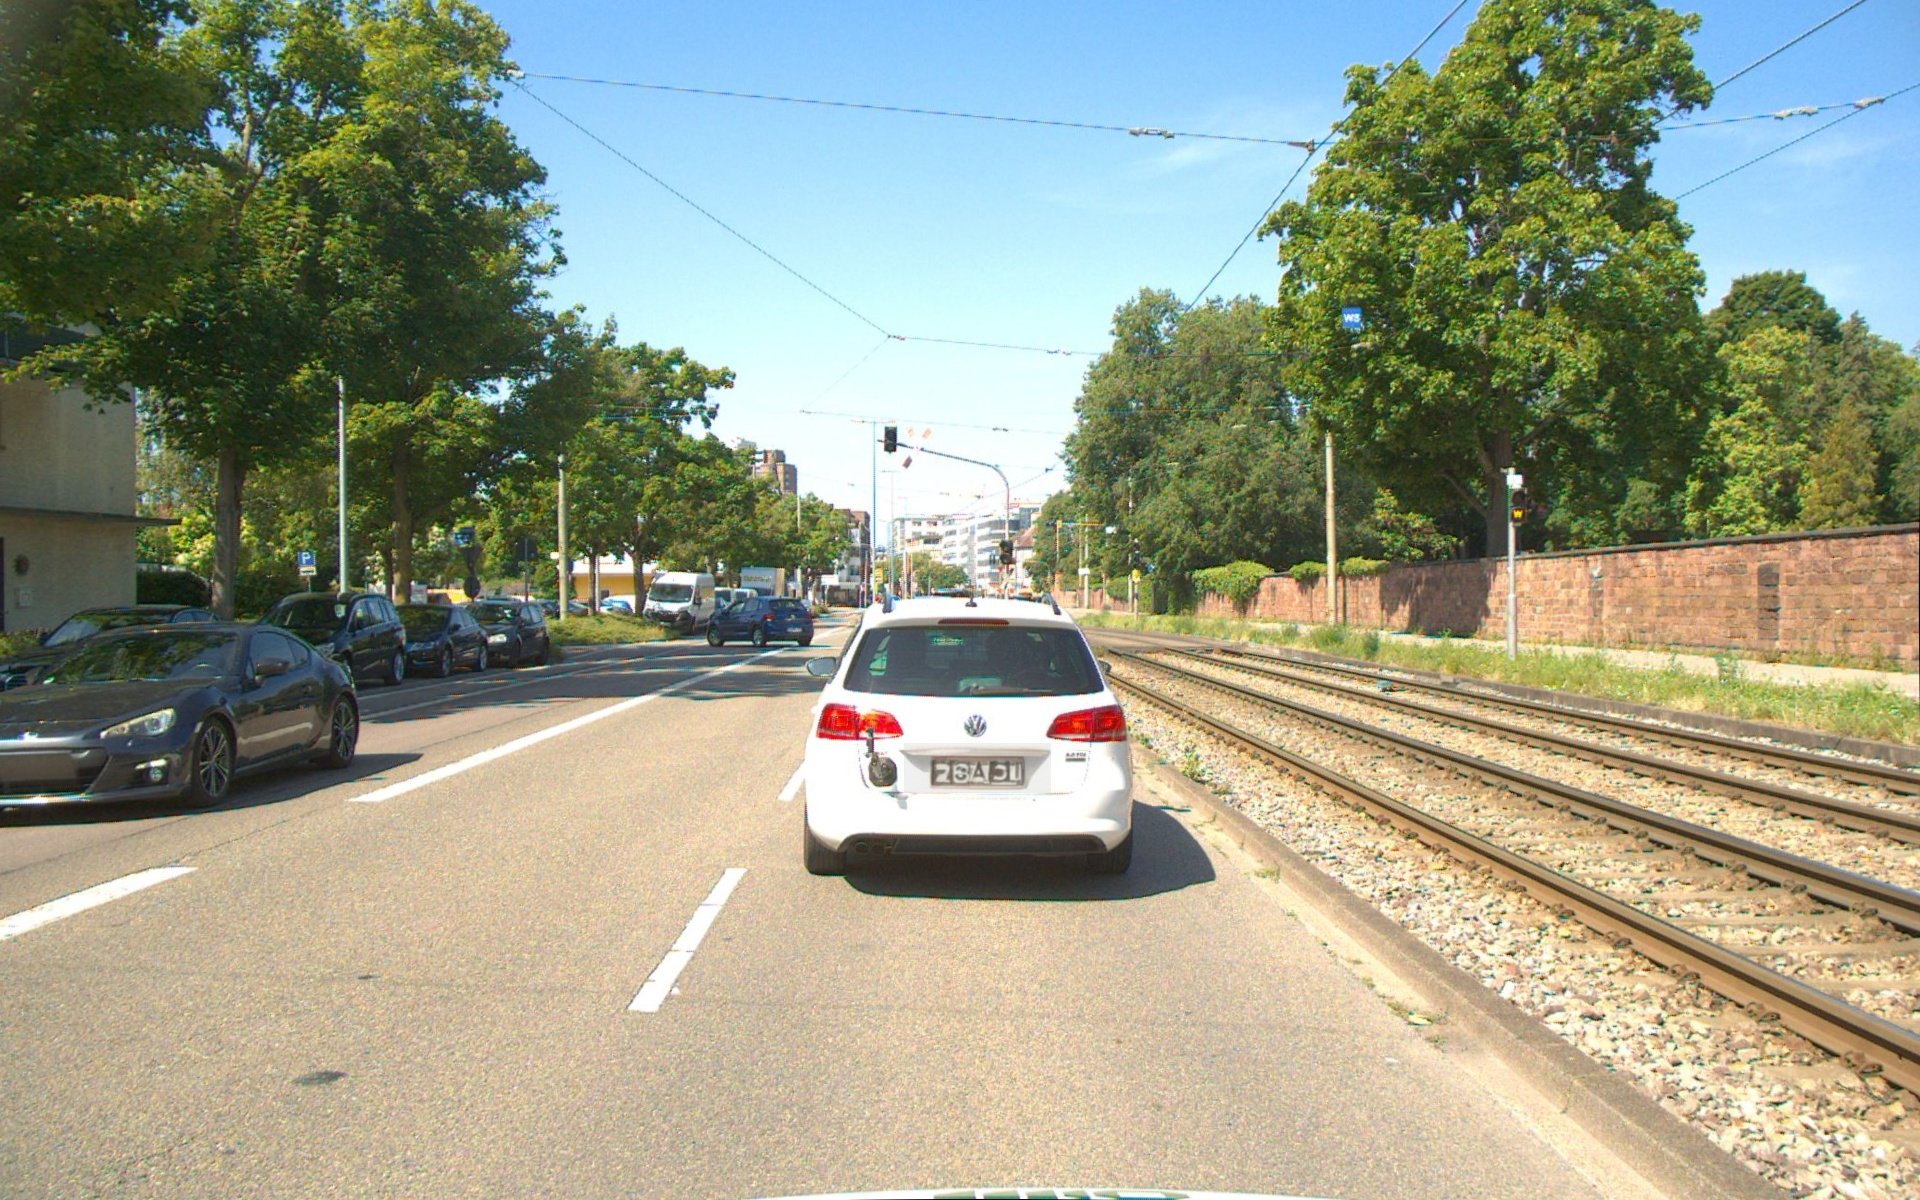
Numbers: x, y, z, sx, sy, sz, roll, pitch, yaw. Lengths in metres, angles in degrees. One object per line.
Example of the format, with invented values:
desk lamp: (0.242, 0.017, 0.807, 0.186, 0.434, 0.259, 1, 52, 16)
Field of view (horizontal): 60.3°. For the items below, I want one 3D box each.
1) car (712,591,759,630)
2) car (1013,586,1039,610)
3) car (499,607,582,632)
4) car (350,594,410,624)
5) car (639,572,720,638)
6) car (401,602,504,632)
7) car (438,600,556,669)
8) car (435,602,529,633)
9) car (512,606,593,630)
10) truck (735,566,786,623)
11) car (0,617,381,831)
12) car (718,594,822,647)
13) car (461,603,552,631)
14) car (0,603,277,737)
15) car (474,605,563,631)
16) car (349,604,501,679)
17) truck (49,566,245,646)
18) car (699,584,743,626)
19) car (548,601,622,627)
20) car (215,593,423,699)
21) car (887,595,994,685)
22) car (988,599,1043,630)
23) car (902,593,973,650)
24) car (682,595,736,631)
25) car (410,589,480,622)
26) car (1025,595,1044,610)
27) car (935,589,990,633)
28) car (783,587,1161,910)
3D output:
car: (-11.915, 0.542, 88.017, 1.806, 1.995, 5.133, -1, 0, 0)
car: (7.159, -0.196, 179.974, 2.413, 2.542, 5.908, 2, -1, -1)
car: (-22.230, 1.009, 87.756, 3.904, 1.246, 1.772, -1, 0, 2)
car: (-37.744, 0.569, 107.647, 3.354, 1.909, 1.551, -1, 0, -3)
car: (-11.564, 0.196, 68.613, 2.016, 2.544, 6.308, 2, 0, 2)
car: (-22.052, 0.743, 71.948, 3.904, 1.246, 1.772, -1, 0, 2)
car: (-10.788, 0.772, 38.787, 1.608, 1.476, 4.004, 2, 0, 0)
car: (-22.466, 0.811, 77.808, 3.904, 1.373, 1.772, -1, 0, 2)
car: (-22.144, 0.977, 89.876, 3.904, 1.246, 1.772, -1, 0, 2)
truck: (-11.603, -0.316, 96.775, 2.309, 3.177, 6.889, -1, 0, -2)
car: (-5.946, 0.827, 12.614, 1.653, 1.266, 4.063, -2, 0, -1)
car: (-5.570, 0.579, 48.135, 1.725, 1.432, 3.878, 1, 0, -27)
car: (-22.025, 0.801, 80.374, 3.904, 1.286, 1.772, -1, 0, 2)
car: (-10.564, 0.800, 21.316, 1.803, 1.491, 4.906, 0, 0, -4)
car: (-22.095, 0.888, 82.849, 3.904, 1.246, 1.772, -1, 0, 2)
car: (-10.898, 0.801, 34.039, 1.656, 1.404, 4.781, 0, 0, -1)
truck: (-34.191, 0.257, 69.721, 6.999, 3.071, 2.230, 2, 0, -3)
car: (-11.799, 0.231, 82.012, 1.807, 1.971, 5.189, -1, 0, -5)
car: (-22.101, 0.836, 97.562, 3.904, 1.469, 1.772, -1, 0, 2)
car: (-10.778, 0.706, 28.213, 1.726, 1.634, 4.892, 0, 0, -1)
car: (-0.364, 0.642, 28.843, 1.710, 1.412, 3.912, 1, 0, -1)
car: (2.730, 0.699, 80.728, 1.709, 1.432, 3.915, 2, 0, 17)
car: (-0.595, 0.565, 45.499, 1.823, 1.441, 4.325, 2, 0, 0)
car: (-11.320, 0.581, 74.838, 1.806, 1.543, 4.196, -1, 0, -1)
car: (-35.113, 0.383, 112.759, 4.175, 2.049, 1.997, 2, -1, -7)
car: (7.026, 0.280, 157.085, 1.549, 1.370, 3.453, 2, -1, -1)
car: (0.123, 0.391, 62.333, 1.822, 1.539, 3.914, 2, 0, 3)
car: (0.004, 0.691, 9.690, 1.732, 1.471, 3.912, 2, 0, -2)
